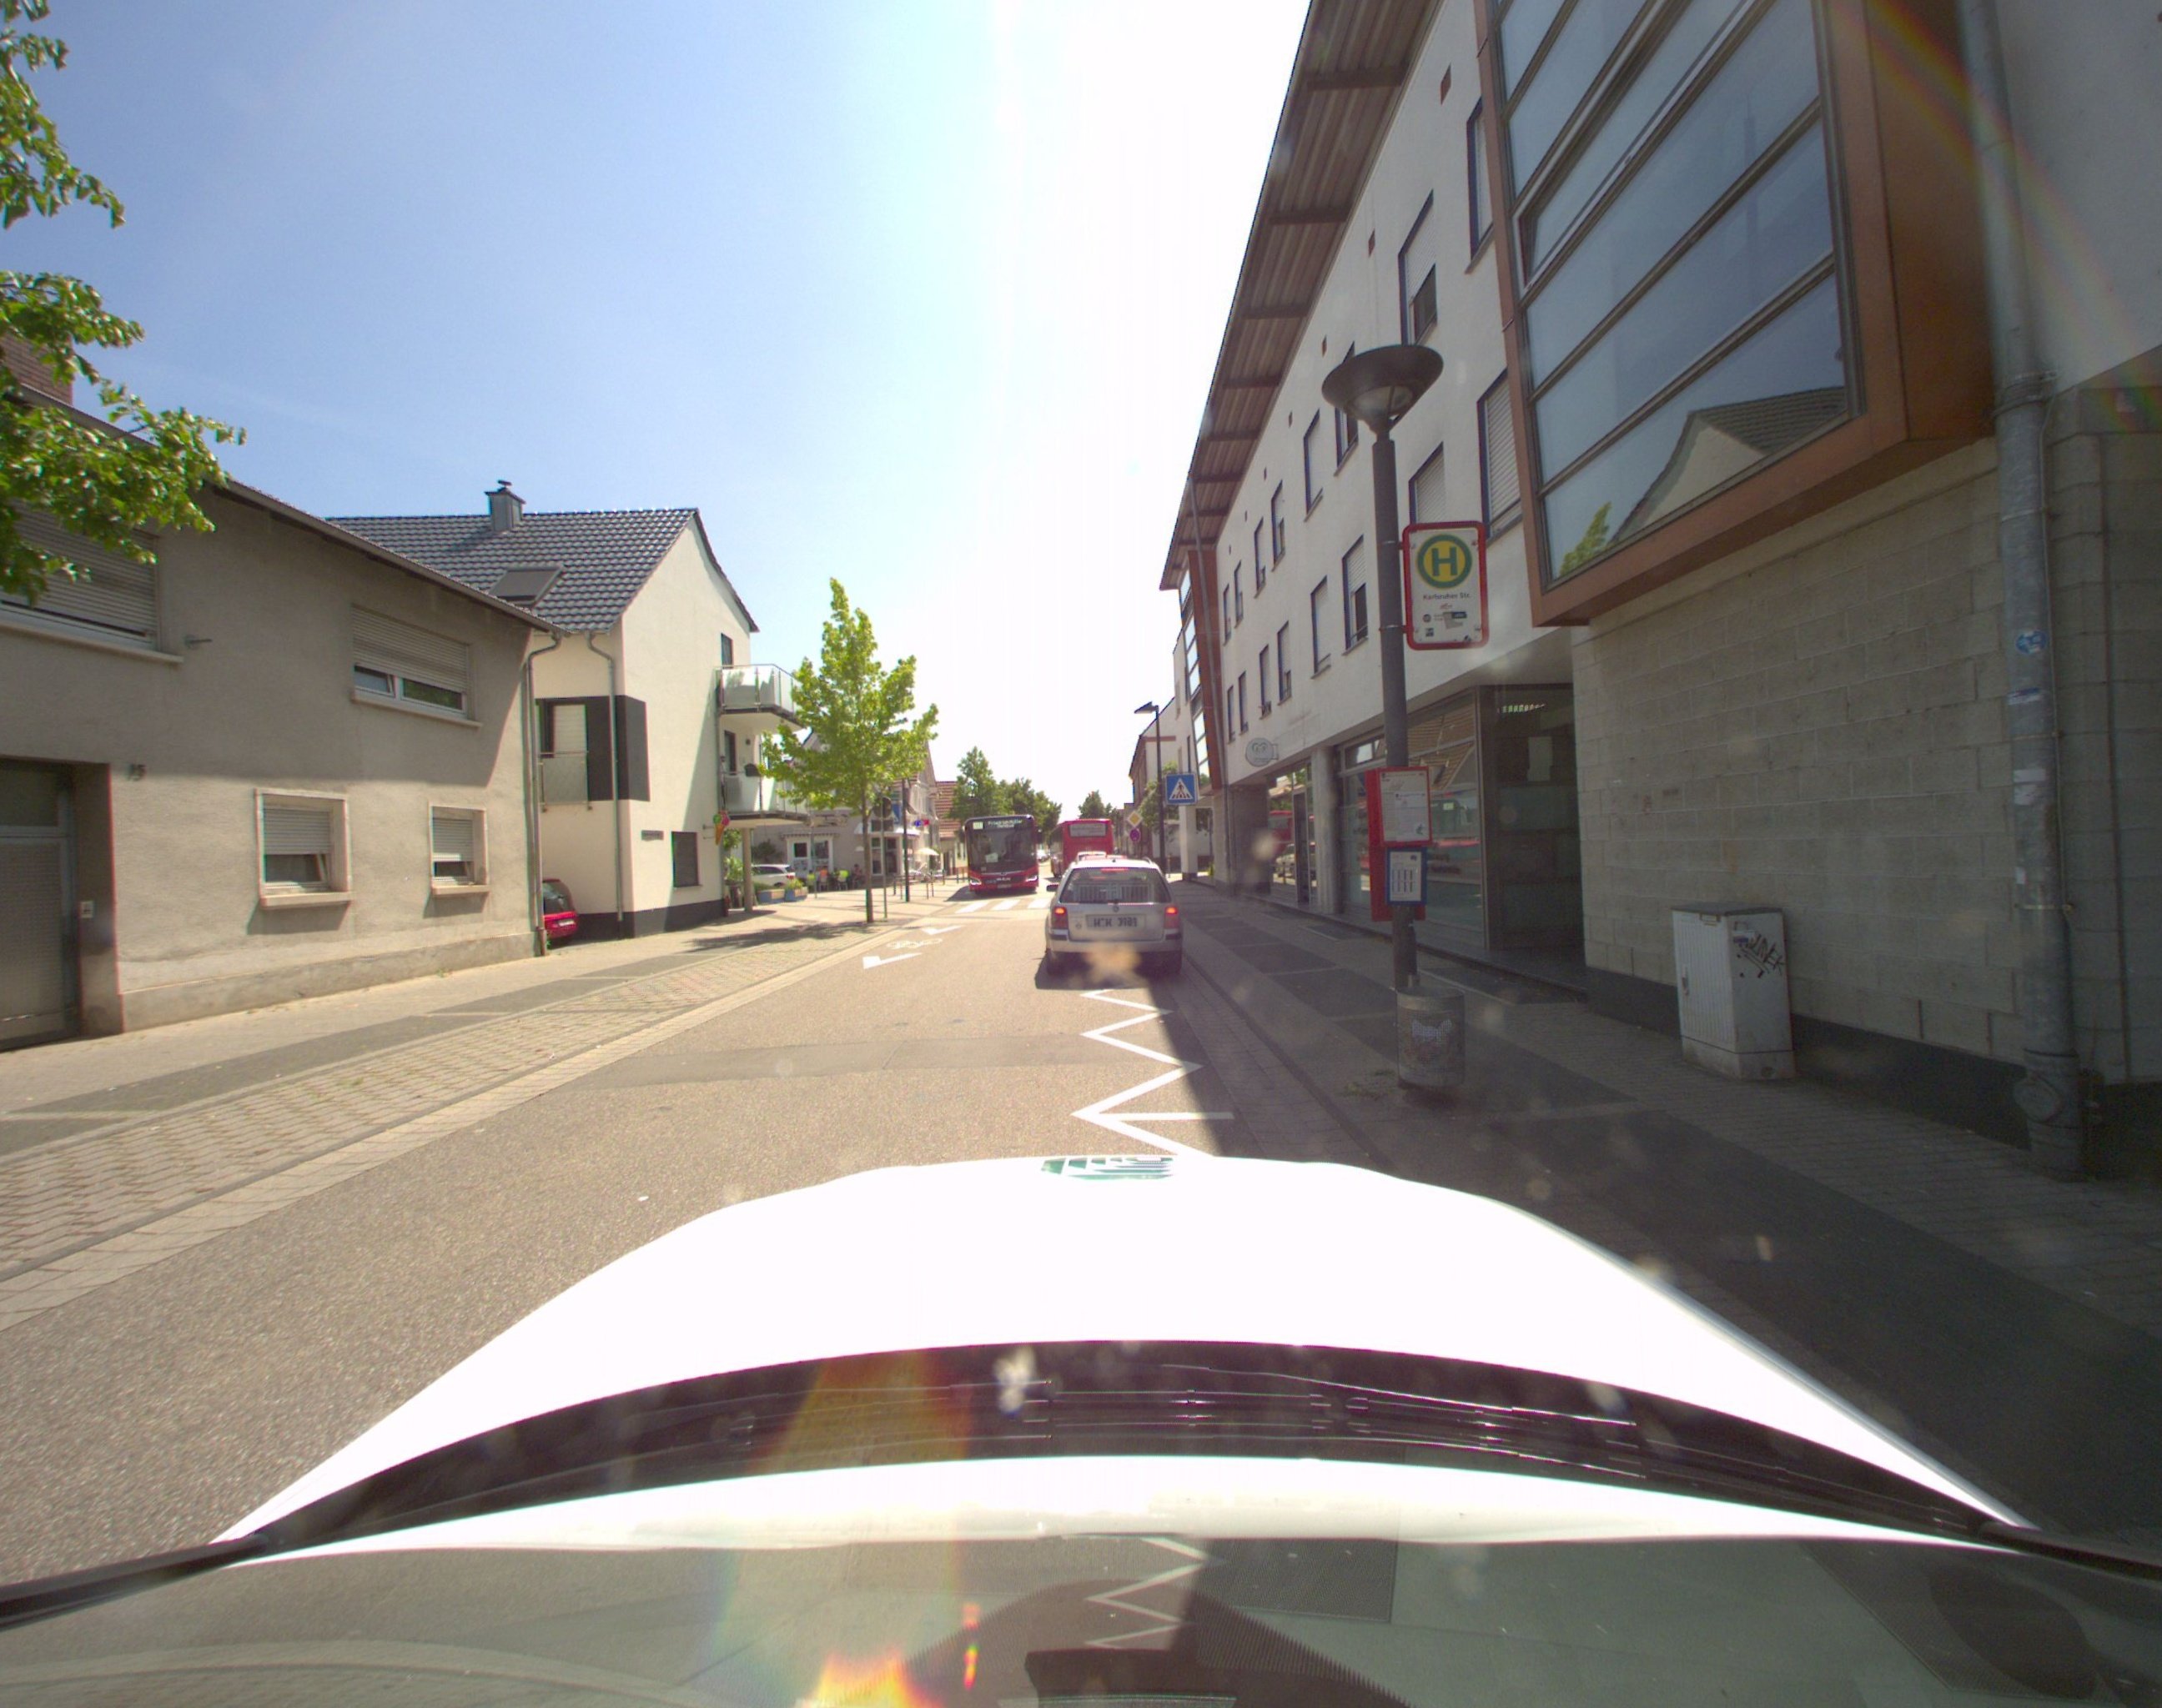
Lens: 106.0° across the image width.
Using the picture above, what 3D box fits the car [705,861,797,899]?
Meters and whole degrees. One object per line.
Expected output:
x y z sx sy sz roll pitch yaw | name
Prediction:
-15.917 1.215 39.501 3.925 1.545 1.510 -3 2 -17 | car

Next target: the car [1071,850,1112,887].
0.456 0.552 33.974 1.588 1.430 3.680 -1 0 1 | car

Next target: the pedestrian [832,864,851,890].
-12.291 1.183 41.806 0.639 1.289 0.780 0 0 -43 | pedestrian

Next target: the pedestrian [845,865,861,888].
-12.033 1.185 42.932 0.621 1.179 0.695 -3 0 -4 | pedestrian

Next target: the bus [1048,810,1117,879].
-0.200 -0.458 46.574 2.736 3.298 12.681 -2 0 -5 | bus

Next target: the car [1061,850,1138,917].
0.417 0.657 20.163 1.671 1.430 3.679 -2 0 0 | car

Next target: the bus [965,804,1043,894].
-3.538 -0.188 37.985 2.665 3.123 17.773 -2 0 -5 | bus

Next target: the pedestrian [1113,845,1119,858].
4.422 -0.309 103.468 0.604 1.667 0.789 -2 0 -1 | pedestrian

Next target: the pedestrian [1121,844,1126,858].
5.378 -0.386 103.031 0.604 1.667 0.789 -2 0 -1 | pedestrian

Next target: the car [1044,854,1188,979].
0.414 0.721 11.283 1.671 1.430 3.679 0 0 0 | car

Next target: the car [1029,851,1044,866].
-6.142 0.593 112.162 1.806 1.995 3.999 -3 0 0 | car

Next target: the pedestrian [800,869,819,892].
-13.766 1.335 41.262 0.639 1.116 0.780 0 0 -43 | pedestrian

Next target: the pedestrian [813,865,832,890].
-13.315 1.201 41.954 0.639 1.289 0.780 0 0 -43 | pedestrian

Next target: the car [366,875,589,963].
-11.891 1.249 16.218 3.109 1.443 1.584 -3 0 -6 | car
